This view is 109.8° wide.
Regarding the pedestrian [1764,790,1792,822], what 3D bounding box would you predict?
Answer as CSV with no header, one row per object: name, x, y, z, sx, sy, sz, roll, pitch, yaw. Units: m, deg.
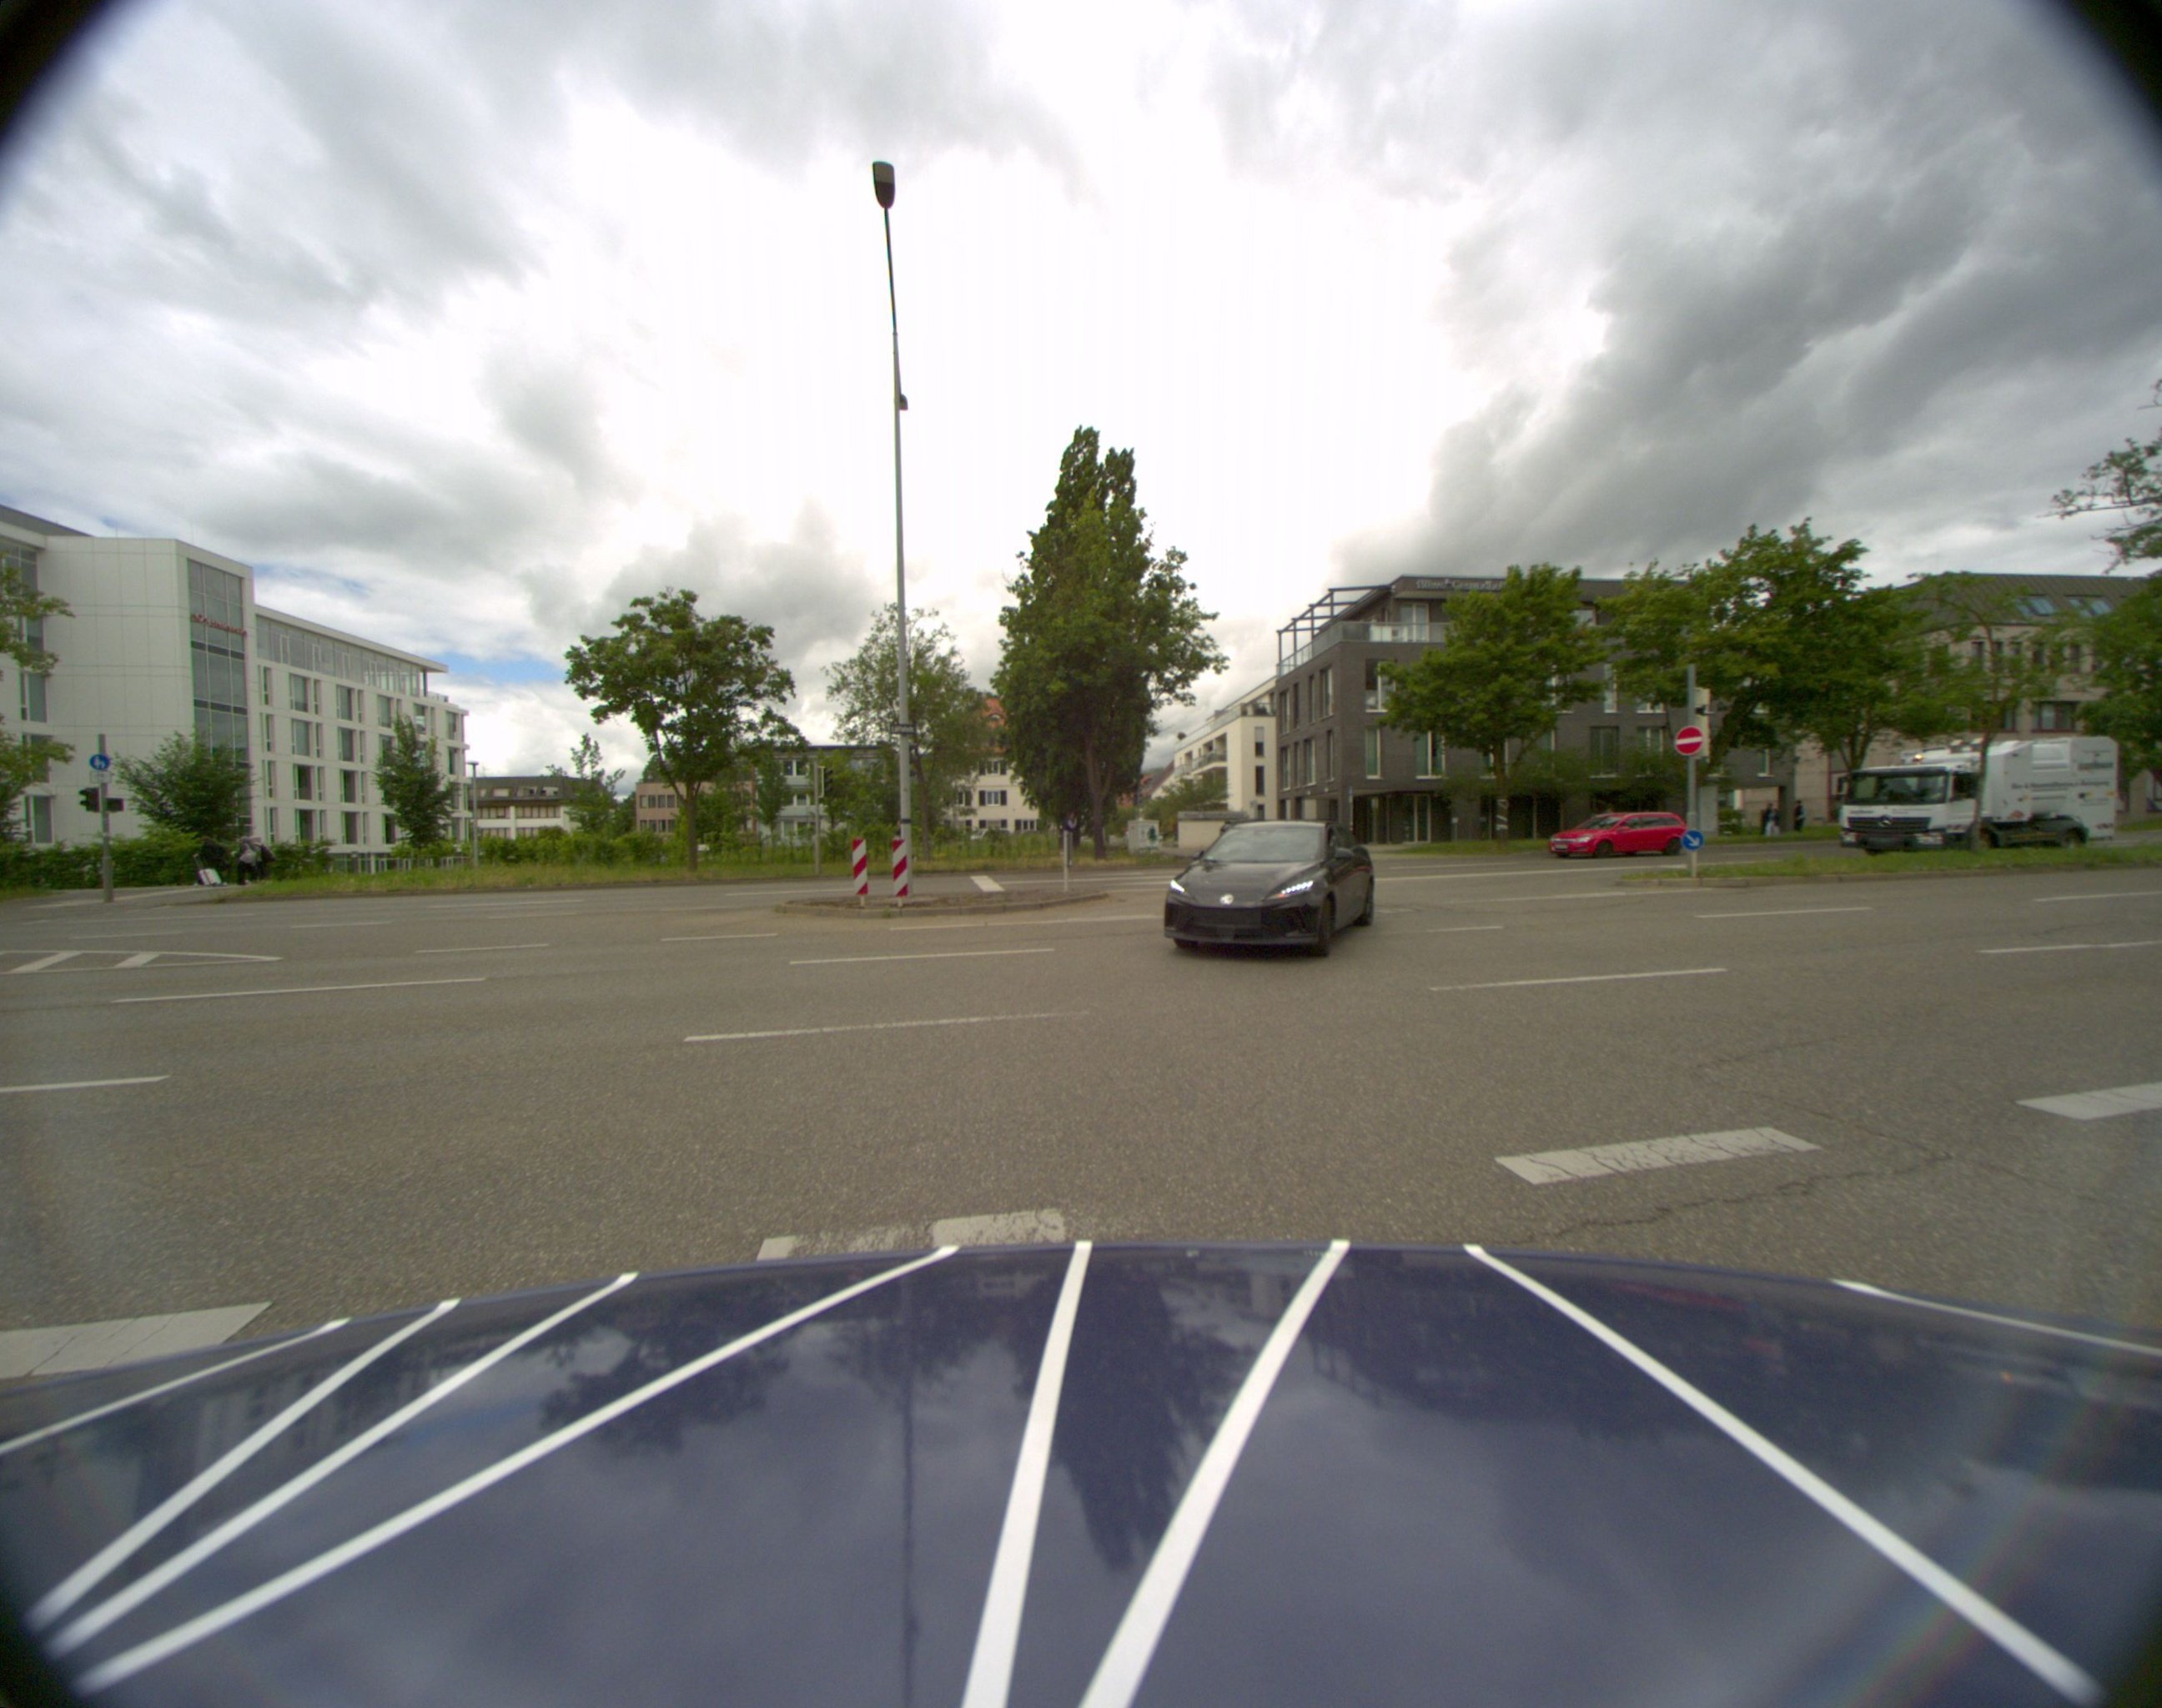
pedestrian,32.381,-2.214,35.309,0.598,1.425,0.693,-3,1,-9

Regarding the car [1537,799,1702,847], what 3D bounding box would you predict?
car,17.813,-1.048,25.249,4.356,1.416,1.997,-2,3,-10

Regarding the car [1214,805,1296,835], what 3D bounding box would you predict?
car,9.905,-1.911,43.323,4.124,1.592,1.999,-1,1,-6

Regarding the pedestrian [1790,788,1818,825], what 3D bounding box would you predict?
pedestrian,32.985,-2.166,34.672,0.598,1.611,0.693,-3,1,-9

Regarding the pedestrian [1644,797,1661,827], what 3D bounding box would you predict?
pedestrian,26.645,-1.940,35.426,0.534,1.349,0.660,-2,2,41

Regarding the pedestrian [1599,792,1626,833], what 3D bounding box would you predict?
pedestrian,23.424,-1.836,33.488,0.649,1.736,0.693,-4,1,-13

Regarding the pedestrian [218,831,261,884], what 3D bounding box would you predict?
pedestrian,-26.518,0.095,23.949,0.707,1.617,0.566,-3,1,15

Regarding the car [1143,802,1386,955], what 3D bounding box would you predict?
car,2.511,0.098,9.642,1.796,1.476,4.025,2,5,32

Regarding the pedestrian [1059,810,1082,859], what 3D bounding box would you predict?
pedestrian,-0.406,-0.725,28.525,0.750,1.787,0.671,-3,1,-3

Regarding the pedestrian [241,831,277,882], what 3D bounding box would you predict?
pedestrian,-26.768,0.076,24.741,0.659,1.617,0.689,-2,2,41

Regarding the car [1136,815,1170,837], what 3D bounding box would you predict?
car,5.997,-2.332,63.610,1.877,1.630,3.825,-3,1,-9

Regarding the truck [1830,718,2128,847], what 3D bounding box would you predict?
truck,24.400,-1.951,20.739,6.468,3.178,2.433,-2,4,-13

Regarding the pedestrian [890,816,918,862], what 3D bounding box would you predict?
pedestrian,-6.745,-0.577,28.875,0.833,1.686,0.615,-4,2,-24

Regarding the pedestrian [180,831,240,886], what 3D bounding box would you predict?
pedestrian,-26.700,0.131,23.297,1.033,1.617,0.734,-3,1,16

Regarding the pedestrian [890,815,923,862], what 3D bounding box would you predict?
pedestrian,-6.498,-0.568,28.252,1.004,1.686,0.607,-4,2,-24

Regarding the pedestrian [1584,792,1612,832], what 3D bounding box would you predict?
pedestrian,23.280,-1.865,34.222,0.698,1.736,0.693,-4,1,-13

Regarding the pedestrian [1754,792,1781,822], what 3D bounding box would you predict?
pedestrian,32.576,-2.215,36.049,0.598,1.382,0.693,-3,1,-9
